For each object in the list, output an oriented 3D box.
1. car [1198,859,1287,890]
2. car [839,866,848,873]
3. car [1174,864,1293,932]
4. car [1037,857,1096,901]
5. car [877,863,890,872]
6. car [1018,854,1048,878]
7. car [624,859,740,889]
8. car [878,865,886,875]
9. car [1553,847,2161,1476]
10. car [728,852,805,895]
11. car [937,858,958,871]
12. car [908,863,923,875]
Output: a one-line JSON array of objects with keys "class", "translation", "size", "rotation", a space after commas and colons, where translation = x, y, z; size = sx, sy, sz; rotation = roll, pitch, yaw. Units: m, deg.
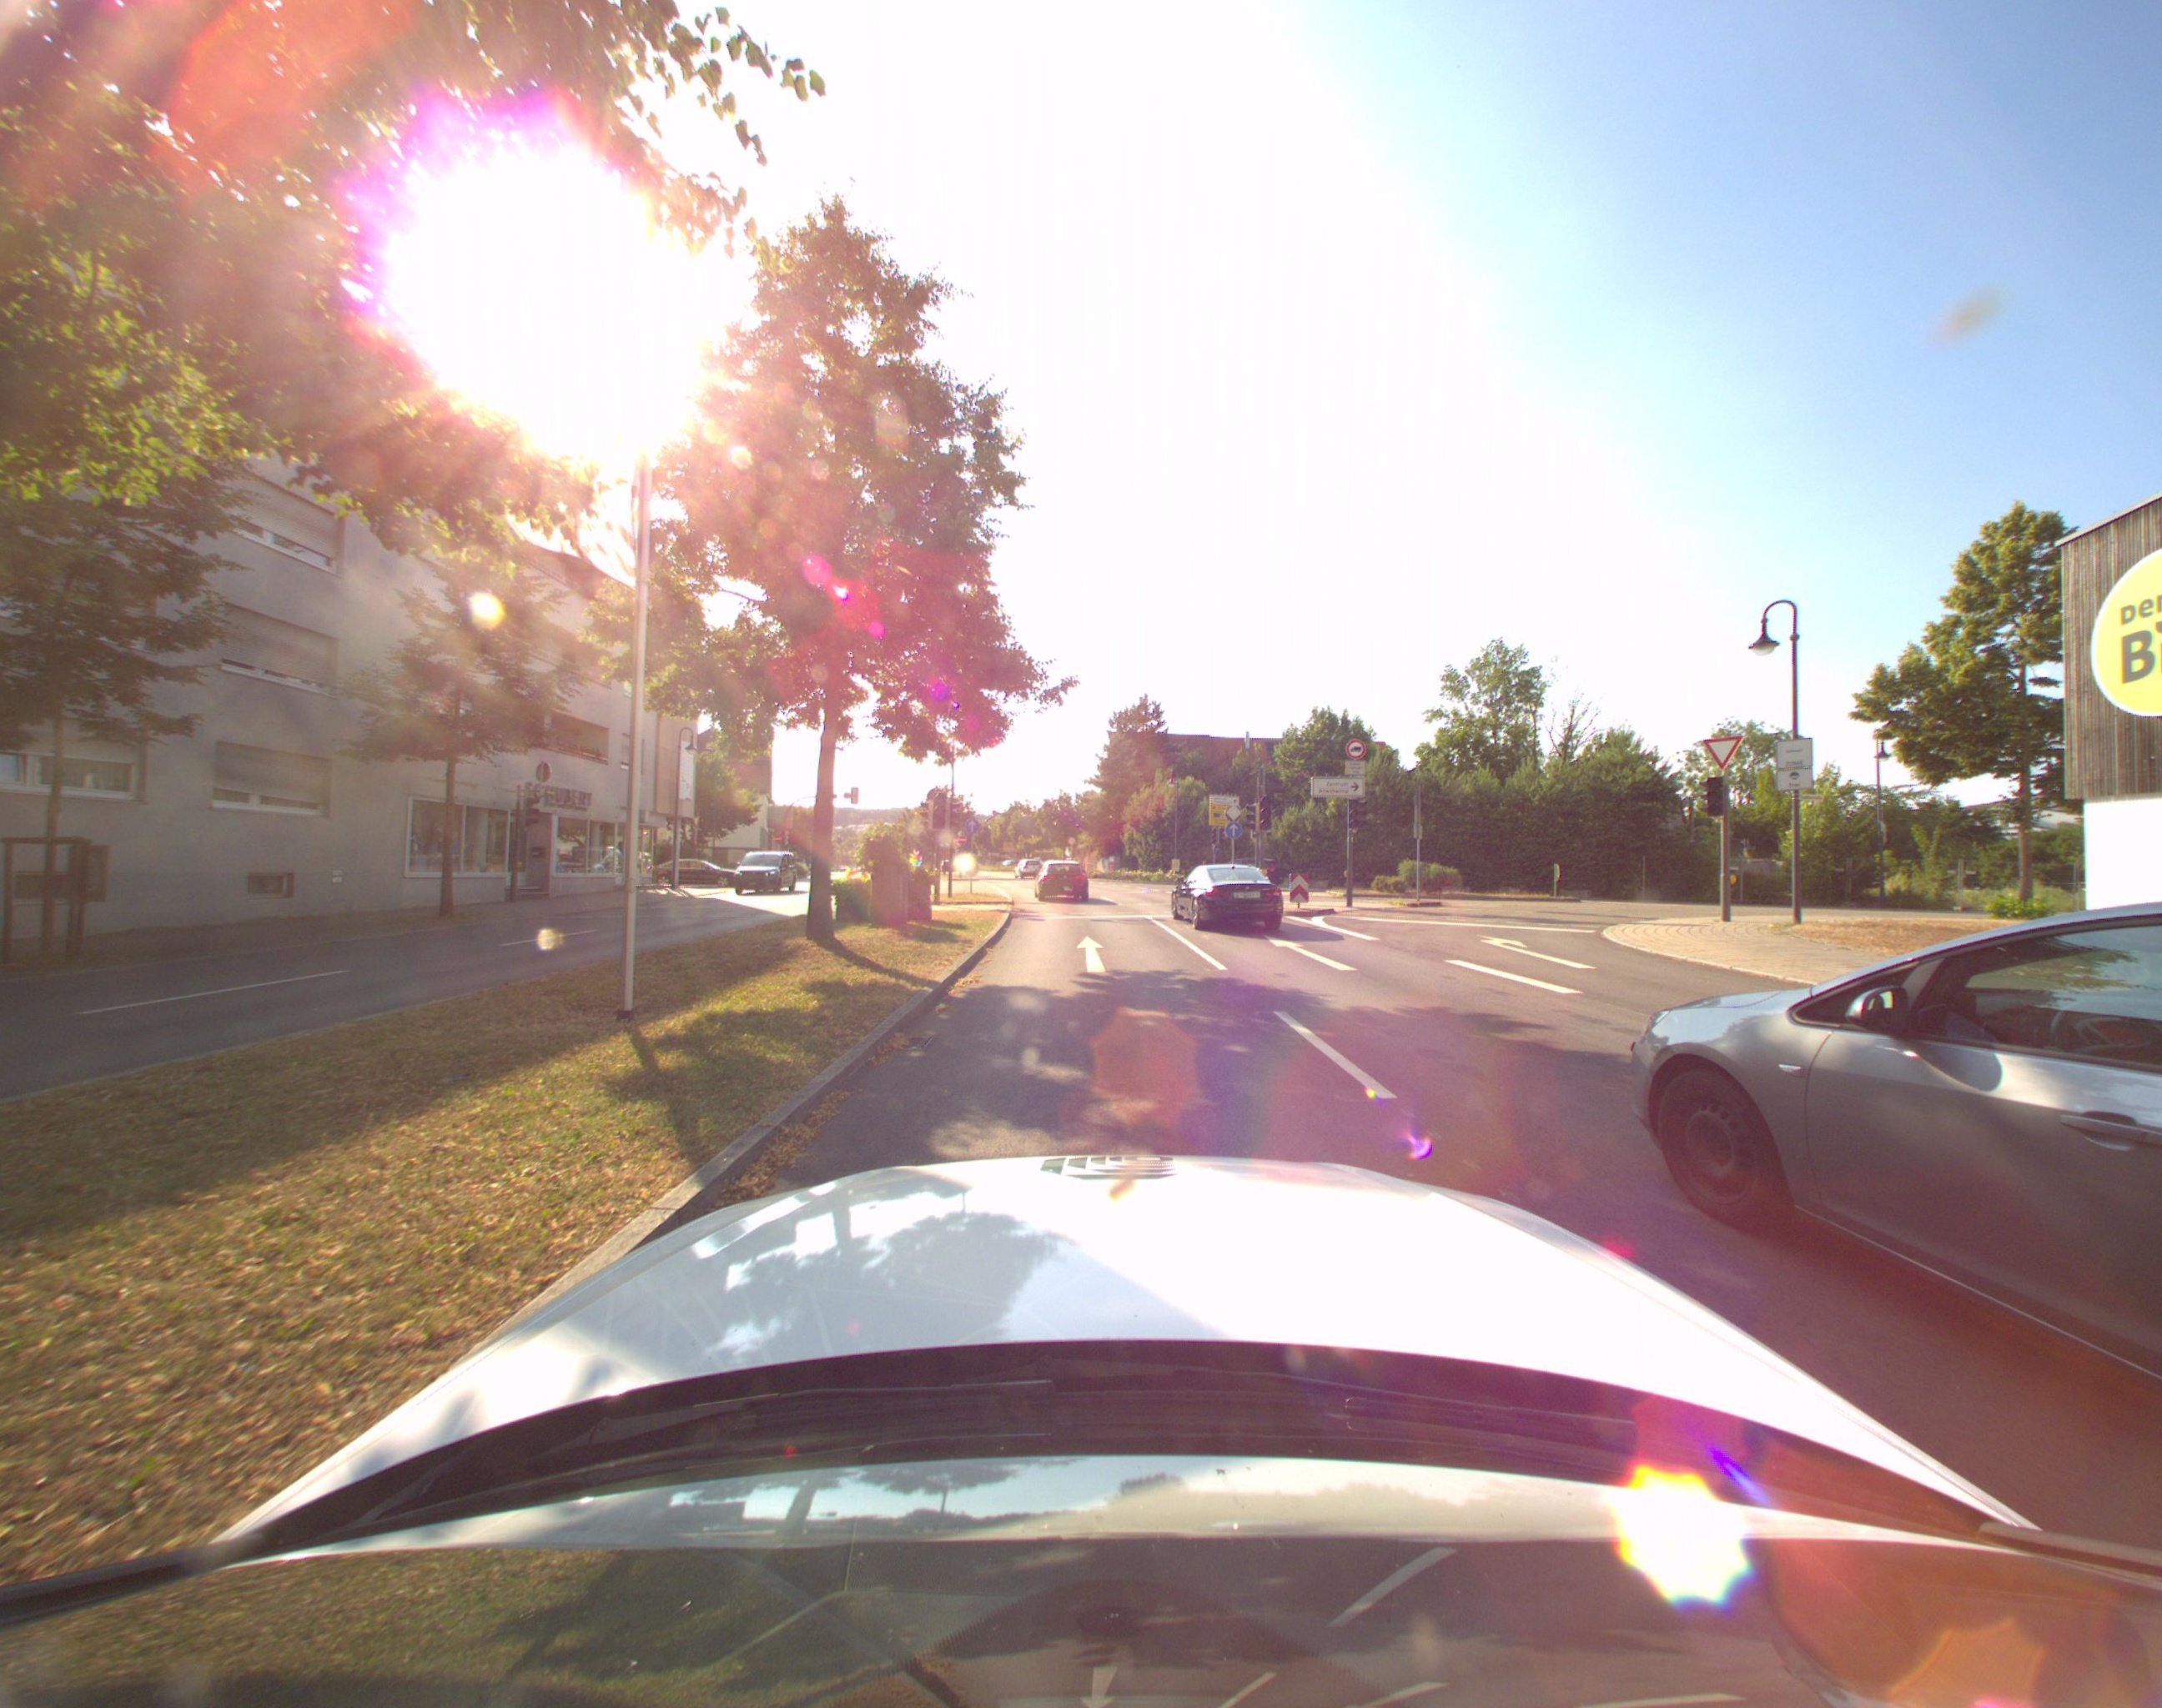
[{"class": "car", "translation": [8.500, 1.066, 42.982], "size": [4.216, 1.567, 1.804], "rotation": [0, -1, 34]}, {"class": "car", "translation": [-47.801, 3.125, 164.020], "size": [1.759, 1.361, 4.461], "rotation": [0, -1, -15]}, {"class": "car", "translation": [3.305, 0.912, 18.545], "size": [1.914, 1.364, 4.352], "rotation": [0, -1, 0]}, {"class": "car", "translation": [-0.458, 0.893, 30.070], "size": [1.713, 1.490, 4.359], "rotation": [0, -1, 5]}, {"class": "car", "translation": [-39.690, 2.753, 163.723], "size": [2.223, 1.769, 4.427], "rotation": [0, -1, -18]}, {"class": "car", "translation": [-3.795, 0.927, 63.499], "size": [1.924, 1.769, 4.440], "rotation": [0, -1, -9]}, {"class": "car", "translation": [-19.946, 0.991, 40.884], "size": [4.857, 1.437, 1.911], "rotation": [0, -1, -9]}, {"class": "car", "translation": [-43.123, 3.436, 176.506], "size": [1.775, 2.014, 3.982], "rotation": [0, -1, -13]}, {"class": "car", "translation": [3.419, 0.726, 2.288], "size": [1.715, 1.490, 4.306], "rotation": [0, 0, 0]}, {"class": "car", "translation": [-13.758, 0.821, 35.925], "size": [1.849, 1.736, 4.914], "rotation": [0, -1, -5]}, {"class": "car", "translation": [-18.468, 1.507, 112.685], "size": [2.223, 1.769, 4.427], "rotation": [0, -1, -18]}, {"class": "car", "translation": [-24.048, 2.144, 118.478], "size": [1.761, 1.769, 3.947], "rotation": [0, -1, -18]}]
